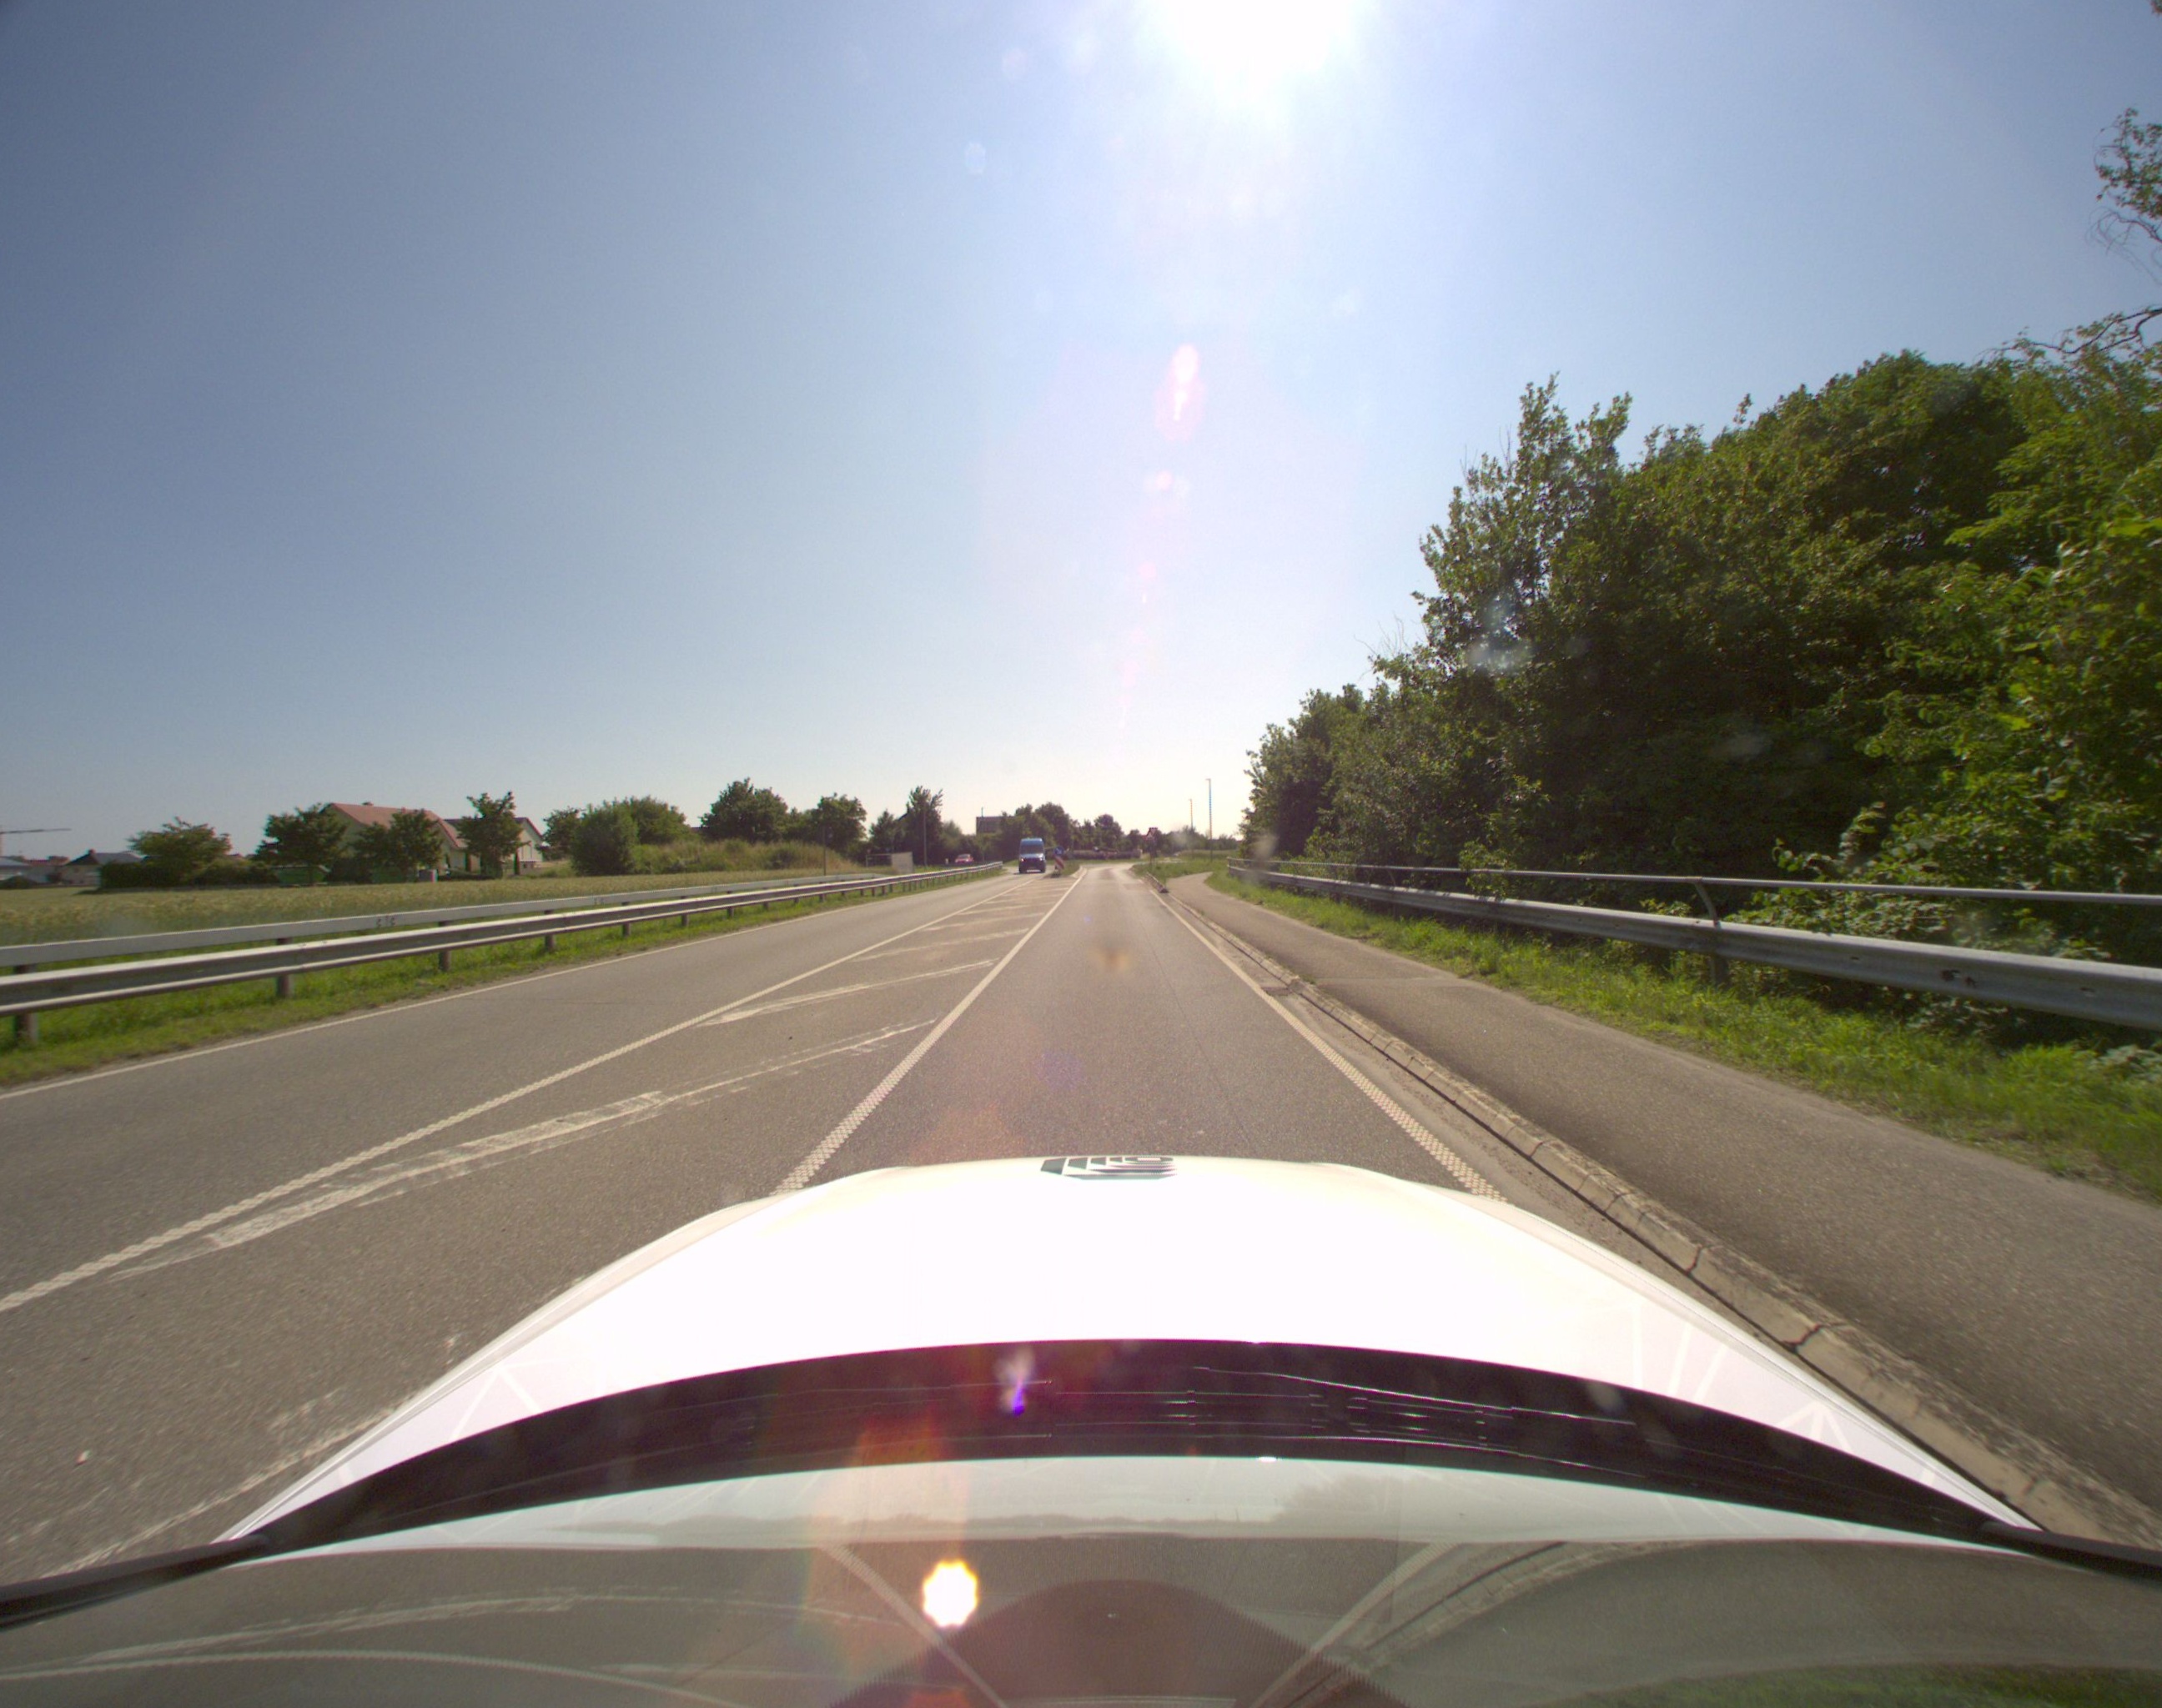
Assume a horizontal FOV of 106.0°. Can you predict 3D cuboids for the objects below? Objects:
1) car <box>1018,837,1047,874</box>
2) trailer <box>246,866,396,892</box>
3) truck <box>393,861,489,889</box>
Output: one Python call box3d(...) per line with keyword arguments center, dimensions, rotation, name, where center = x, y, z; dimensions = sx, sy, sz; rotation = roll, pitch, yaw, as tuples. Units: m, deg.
box3d(center=(-3.721, 0.134, 62.989), dimensions=(1.989, 2.611, 7.281), rotation=(-3, 0, -3), name="car")
box3d(center=(-74.161, 2.377, 79.854), dimensions=(10.535, 2.278, 1.979), rotation=(-1, 0, -35), name="trailer")
box3d(center=(-66.627, 2.114, 85.001), dimensions=(7.719, 2.649, 2.494), rotation=(-1, 0, -35), name="truck")
